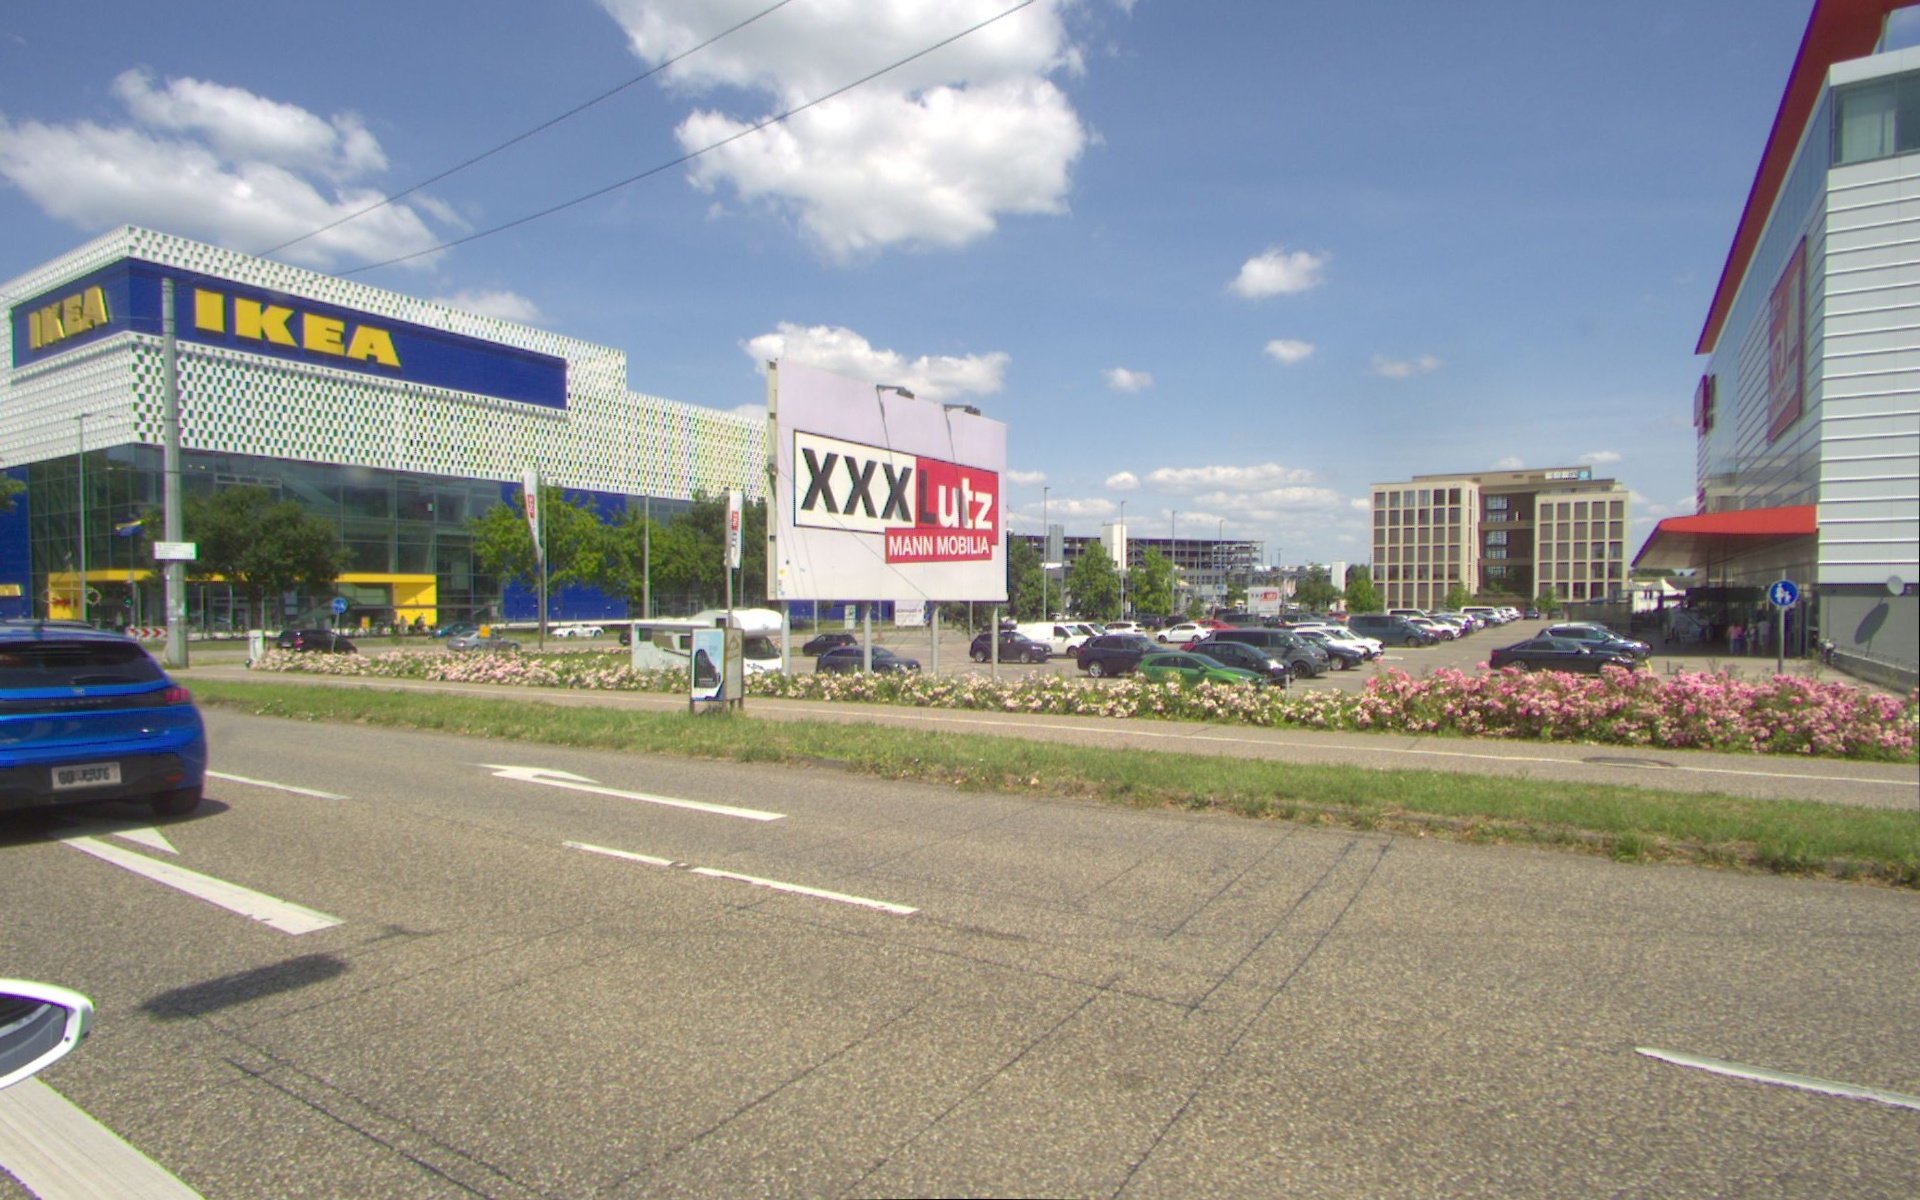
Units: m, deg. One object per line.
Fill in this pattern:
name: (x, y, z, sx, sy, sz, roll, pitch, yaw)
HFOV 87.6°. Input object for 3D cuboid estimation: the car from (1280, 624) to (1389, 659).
car: (19.057, 2.096, 51.047, 4.929, 1.672, 1.990, -1, -1, 33)

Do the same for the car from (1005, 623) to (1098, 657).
car: (5.219, 2.250, 57.174, 4.929, 1.876, 1.990, 0, -1, 33)

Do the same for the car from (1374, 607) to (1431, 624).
car: (43.719, 1.563, 99.047, 4.929, 1.631, 1.990, -1, -1, 33)

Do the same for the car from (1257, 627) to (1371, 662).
car: (17.264, 2.126, 48.883, 4.929, 1.631, 1.990, -1, -1, 33)

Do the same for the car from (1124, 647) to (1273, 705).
car: (7.632, 2.377, 32.101, 4.242, 1.517, 1.988, -1, 2, 33)

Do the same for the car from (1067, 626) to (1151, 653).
car: (9.415, 2.460, 63.446, 4.929, 1.631, 1.990, -1, -1, 33)

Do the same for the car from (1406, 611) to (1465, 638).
car: (36.966, 1.902, 77.825, 3.943, 2.040, 1.990, -1, -1, 32)

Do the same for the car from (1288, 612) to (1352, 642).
car: (25.477, 1.879, 70.836, 3.943, 2.040, 1.990, -1, -1, 32)

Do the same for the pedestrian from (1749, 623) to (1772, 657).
pedestrian: (37.130, 1.836, 46.436, 0.725, 1.578, 0.739, 0, -1, 30)

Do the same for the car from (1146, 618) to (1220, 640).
car: (16.370, 2.113, 73.477, 4.929, 1.631, 1.990, -1, -1, 33)

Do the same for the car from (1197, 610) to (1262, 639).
car: (22.611, 2.026, 84.024, 4.929, 2.333, 1.990, 0, -1, 33)

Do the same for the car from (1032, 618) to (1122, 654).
car: (6.888, 2.080, 59.167, 4.929, 2.033, 1.990, 0, -1, 33)

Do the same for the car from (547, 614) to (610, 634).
car: (-31.148, 1.994, 81.864, 1.974, 1.505, 4.486, 0, -2, 36)

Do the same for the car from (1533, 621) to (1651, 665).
car: (27.614, 1.868, 43.880, 4.271, 1.804, 1.990, 0, -2, 33)

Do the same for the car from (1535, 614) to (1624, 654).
car: (32.955, 1.783, 53.332, 3.943, 2.040, 1.990, 0, -1, 32)

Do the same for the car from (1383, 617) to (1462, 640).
car: (32.876, 2.011, 71.248, 4.929, 1.631, 1.990, -1, -1, 33)

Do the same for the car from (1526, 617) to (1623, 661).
car: (29.926, 1.869, 48.834, 3.943, 2.040, 1.990, -1, -1, 32)

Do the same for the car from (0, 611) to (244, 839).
car: (-7.617, 0.831, 7.922, 3.943, 1.473, 1.834, 0, -2, 33)

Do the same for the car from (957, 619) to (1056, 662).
car: (2.422, 2.101, 53.125, 4.929, 2.162, 1.990, 0, -1, 33)

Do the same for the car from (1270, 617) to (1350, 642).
car: (24.032, 2.025, 68.830, 4.929, 1.631, 1.990, -1, -1, 33)

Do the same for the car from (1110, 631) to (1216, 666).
car: (10.314, 2.417, 50.921, 4.929, 1.632, 1.989, -1, 0, 33)

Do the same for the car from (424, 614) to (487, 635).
car: (-38.373, 1.906, 76.229, 1.974, 1.505, 3.779, 0, -2, 36)

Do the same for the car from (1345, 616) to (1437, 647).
car: (27.135, 1.976, 63.060, 5.106, 1.889, 1.991, 0, -1, 31)

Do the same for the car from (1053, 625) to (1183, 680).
car: (6.478, 2.109, 41.338, 4.929, 2.041, 1.989, 0, 1, 33)

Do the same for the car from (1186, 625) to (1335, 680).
car: (12.087, 2.051, 40.384, 5.456, 2.040, 1.990, 0, -1, 33)

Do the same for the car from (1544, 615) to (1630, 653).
car: (34.611, 1.864, 55.373, 3.943, 2.040, 1.990, -1, -1, 32)

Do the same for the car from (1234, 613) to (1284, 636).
car: (26.771, 2.203, 89.773, 3.943, 2.040, 1.990, -1, -1, 32)

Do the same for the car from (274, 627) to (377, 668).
car: (-33.176, 2.443, 52.467, 1.969, 2.040, 4.178, -1, -1, 29)

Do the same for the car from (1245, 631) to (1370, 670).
car: (15.370, 2.197, 44.375, 4.929, 1.631, 1.990, -1, -1, 33)

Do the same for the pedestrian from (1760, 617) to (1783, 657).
pedestrian: (38.065, 1.732, 46.994, 0.725, 1.893, 0.739, 0, -1, 30)

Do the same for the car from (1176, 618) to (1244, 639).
car: (19.948, 2.269, 79.944, 4.929, 1.631, 1.990, -1, -1, 33)

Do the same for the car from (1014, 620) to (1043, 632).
car: (8.748, 3.323, 128.347, 1.970, 1.505, 4.371, 0, -2, 30)

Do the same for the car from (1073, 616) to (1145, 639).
car: (10.950, 2.024, 73.736, 4.921, 1.631, 1.993, 0, -1, 27)

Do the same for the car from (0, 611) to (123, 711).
car: (-16.236, 0.973, 17.213, 4.042, 1.546, 1.757, 0, -1, 33)

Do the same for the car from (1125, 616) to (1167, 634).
car: (19.256, 2.592, 103.576, 3.943, 1.863, 1.819, -1, -1, 32)

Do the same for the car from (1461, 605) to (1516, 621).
car: (54.788, 1.359, 103.827, 4.929, 1.631, 1.990, -1, -1, 33)

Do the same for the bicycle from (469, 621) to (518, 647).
bicycle: (-27.320, 1.990, 58.675, 0.976, 1.500, 2.415, 0, -1, 37)

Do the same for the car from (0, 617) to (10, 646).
car: (-51.330, 1.566, 50.649, 1.974, 1.505, 4.486, 0, -2, 36)

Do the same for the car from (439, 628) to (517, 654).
car: (-29.944, 2.535, 62.368, 1.966, 1.505, 4.158, 0, -2, 22)

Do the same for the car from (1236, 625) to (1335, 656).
car: (17.937, 2.200, 55.268, 4.928, 1.631, 1.990, 0, -1, 32)

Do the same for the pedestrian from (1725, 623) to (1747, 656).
pedestrian: (36.923, 1.879, 47.626, 0.725, 1.578, 0.739, 0, -1, 30)

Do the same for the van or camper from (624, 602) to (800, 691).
van or camper: (-9.468, 1.675, 37.853, 7.129, 3.059, 2.499, -1, -1, 36)

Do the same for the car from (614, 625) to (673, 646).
car: (-23.466, 2.611, 74.266, 1.712, 1.508, 3.977, 0, -1, 34)

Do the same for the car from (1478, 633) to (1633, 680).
car: (22.448, 2.075, 37.902, 4.929, 1.631, 1.990, -1, -1, 33)

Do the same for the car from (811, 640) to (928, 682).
car: (-3.848, 2.540, 42.434, 4.701, 1.558, 1.989, -1, 1, 33)

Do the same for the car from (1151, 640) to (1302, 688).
car: (9.619, 2.259, 36.265, 4.929, 1.570, 1.990, -1, -1, 33)
